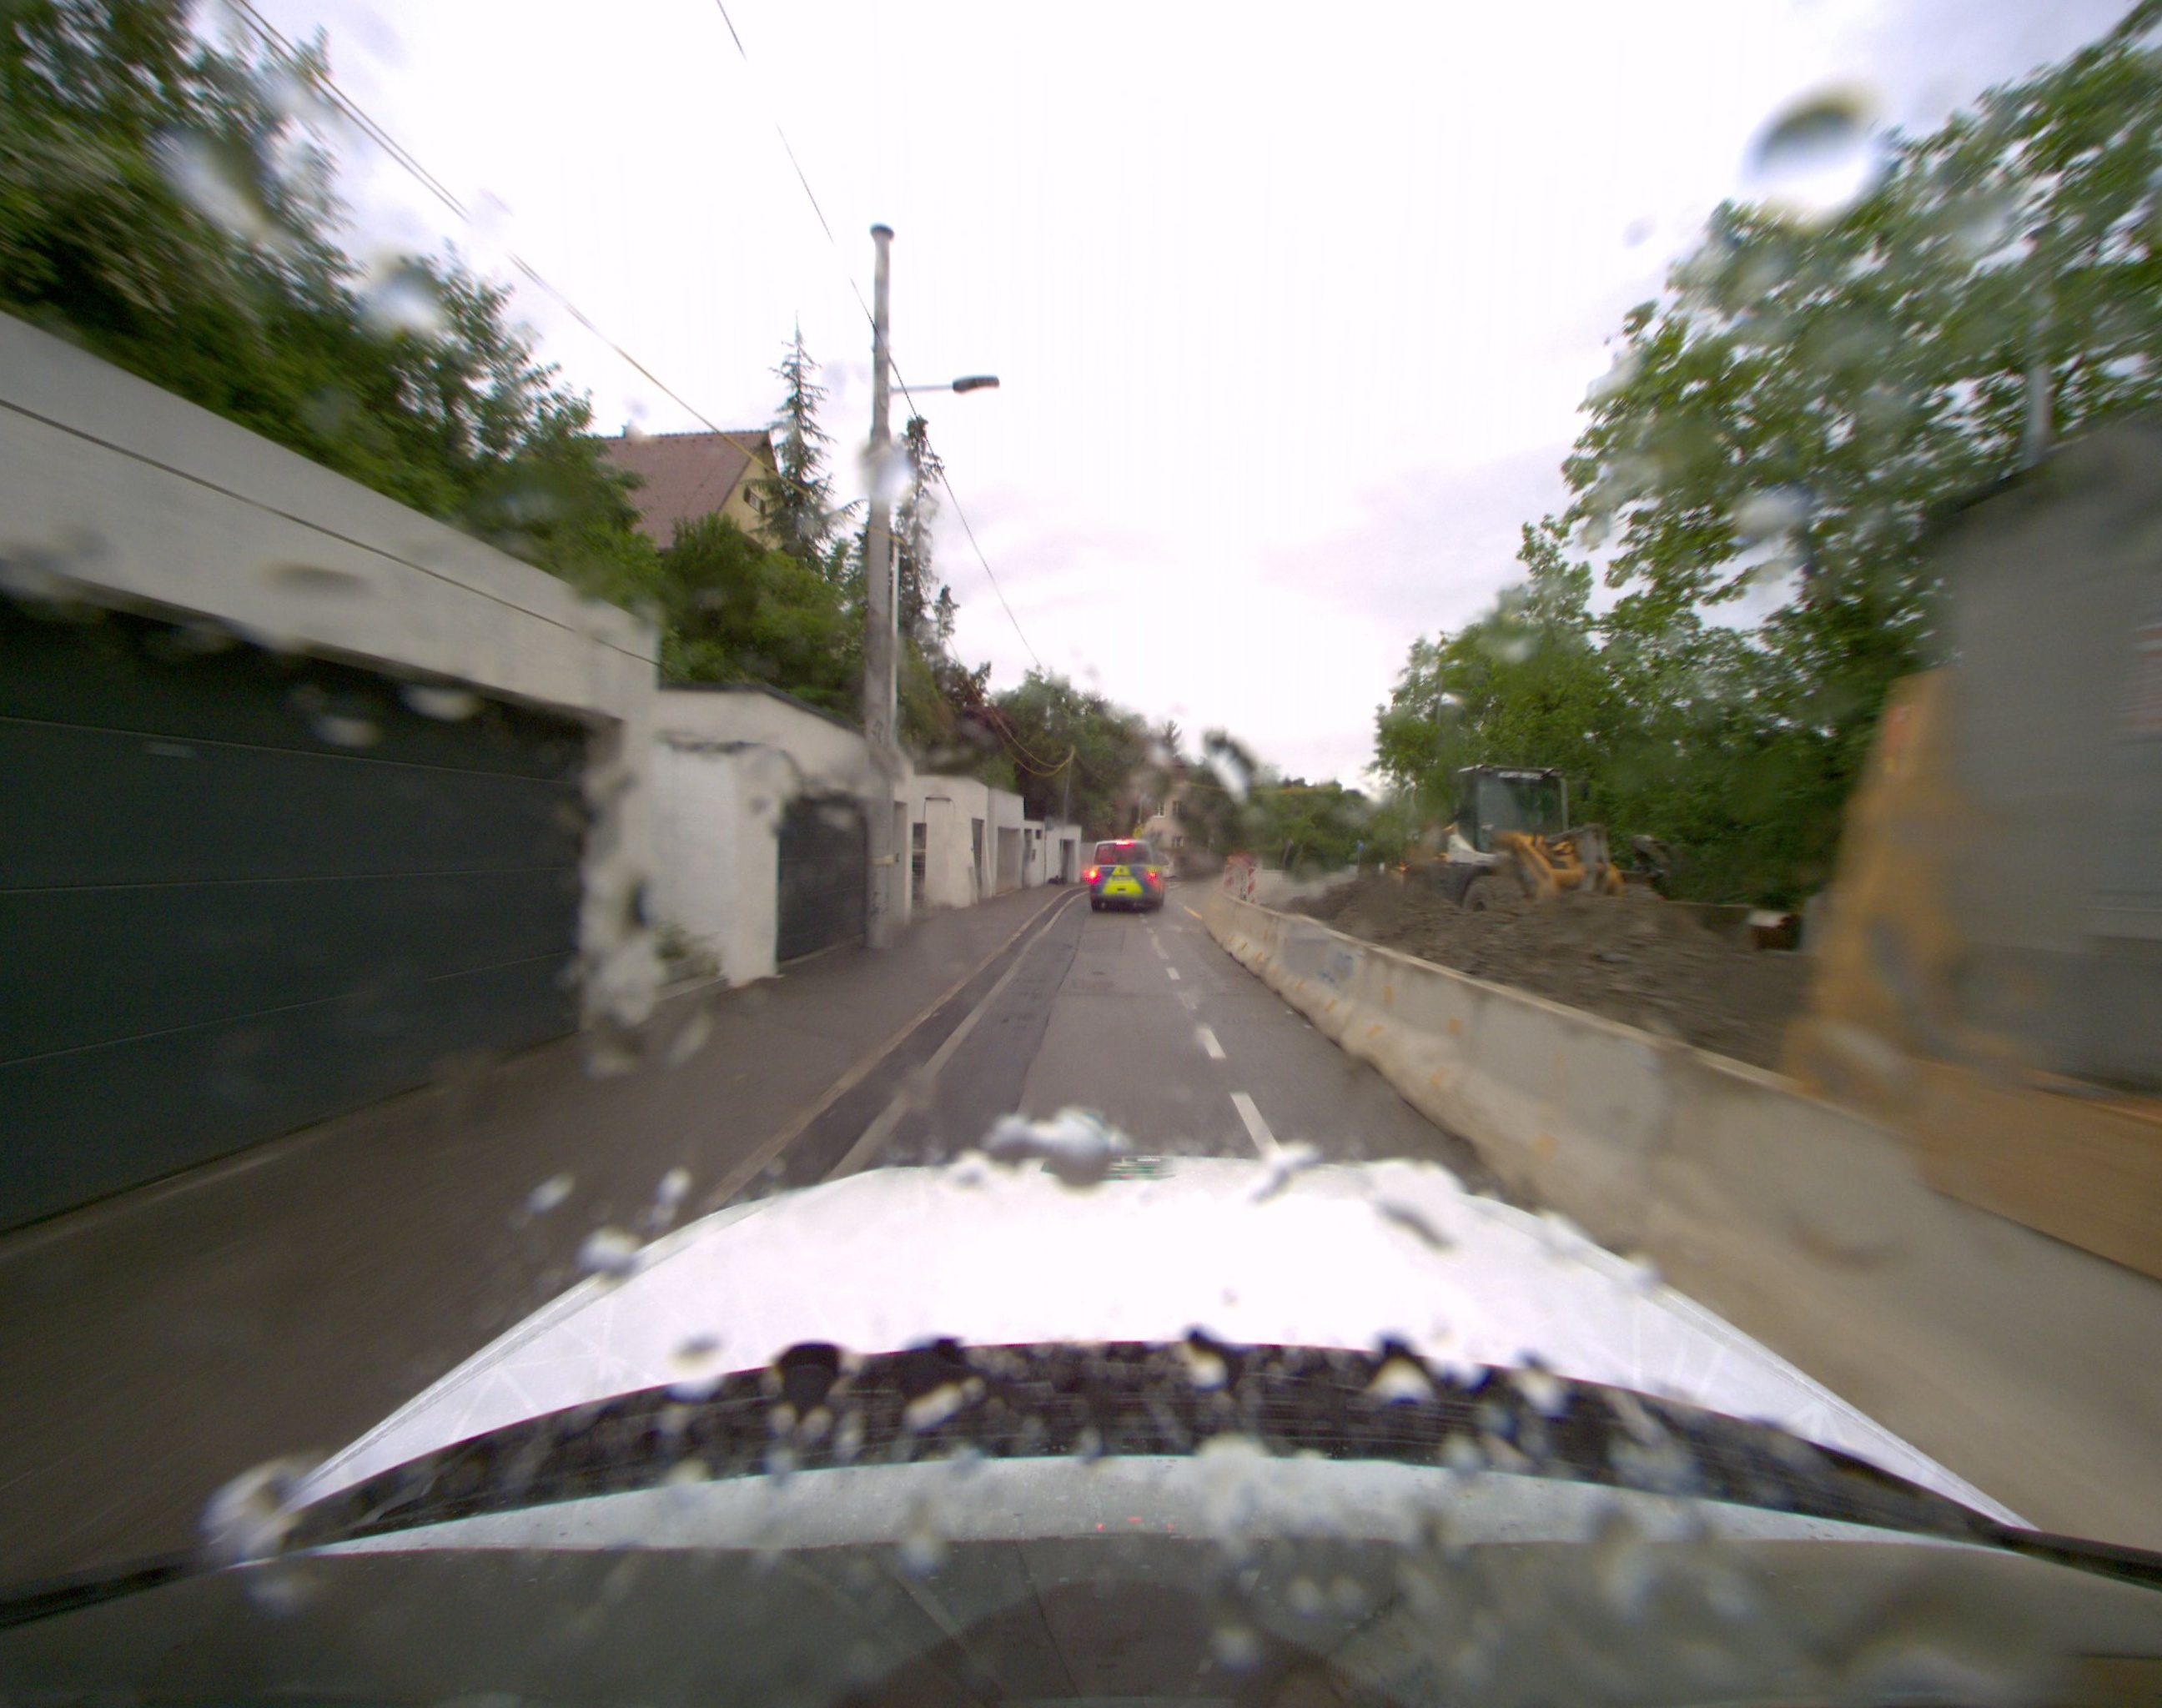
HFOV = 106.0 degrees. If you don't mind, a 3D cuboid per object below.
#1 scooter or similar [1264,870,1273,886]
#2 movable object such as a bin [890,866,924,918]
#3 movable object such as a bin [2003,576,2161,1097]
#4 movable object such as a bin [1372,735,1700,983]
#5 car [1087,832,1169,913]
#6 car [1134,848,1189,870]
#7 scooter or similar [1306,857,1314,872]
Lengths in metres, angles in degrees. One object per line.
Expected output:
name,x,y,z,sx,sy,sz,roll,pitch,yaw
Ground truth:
scooter or similar,14.613,1.868,63.402,0.462,1.187,1.026,3,-1,3
movable object such as a bin,-3.487,0.754,16.358,0.502,1.021,0.523,3,-1,1
movable object such as a bin,6.390,-0.066,3.144,2.087,2.601,3.178,3,-1,2
movable object such as a bin,6.829,0.102,13.251,2.483,3.076,5.594,3,-1,4
car,1.444,0.516,23.356,1.897,2.010,4.449,3,-1,8
car,6.365,0.405,64.618,3.949,1.517,1.738,2,-1,32
scooter or similar,17.787,0.826,63.251,0.462,1.144,0.835,3,-1,4
